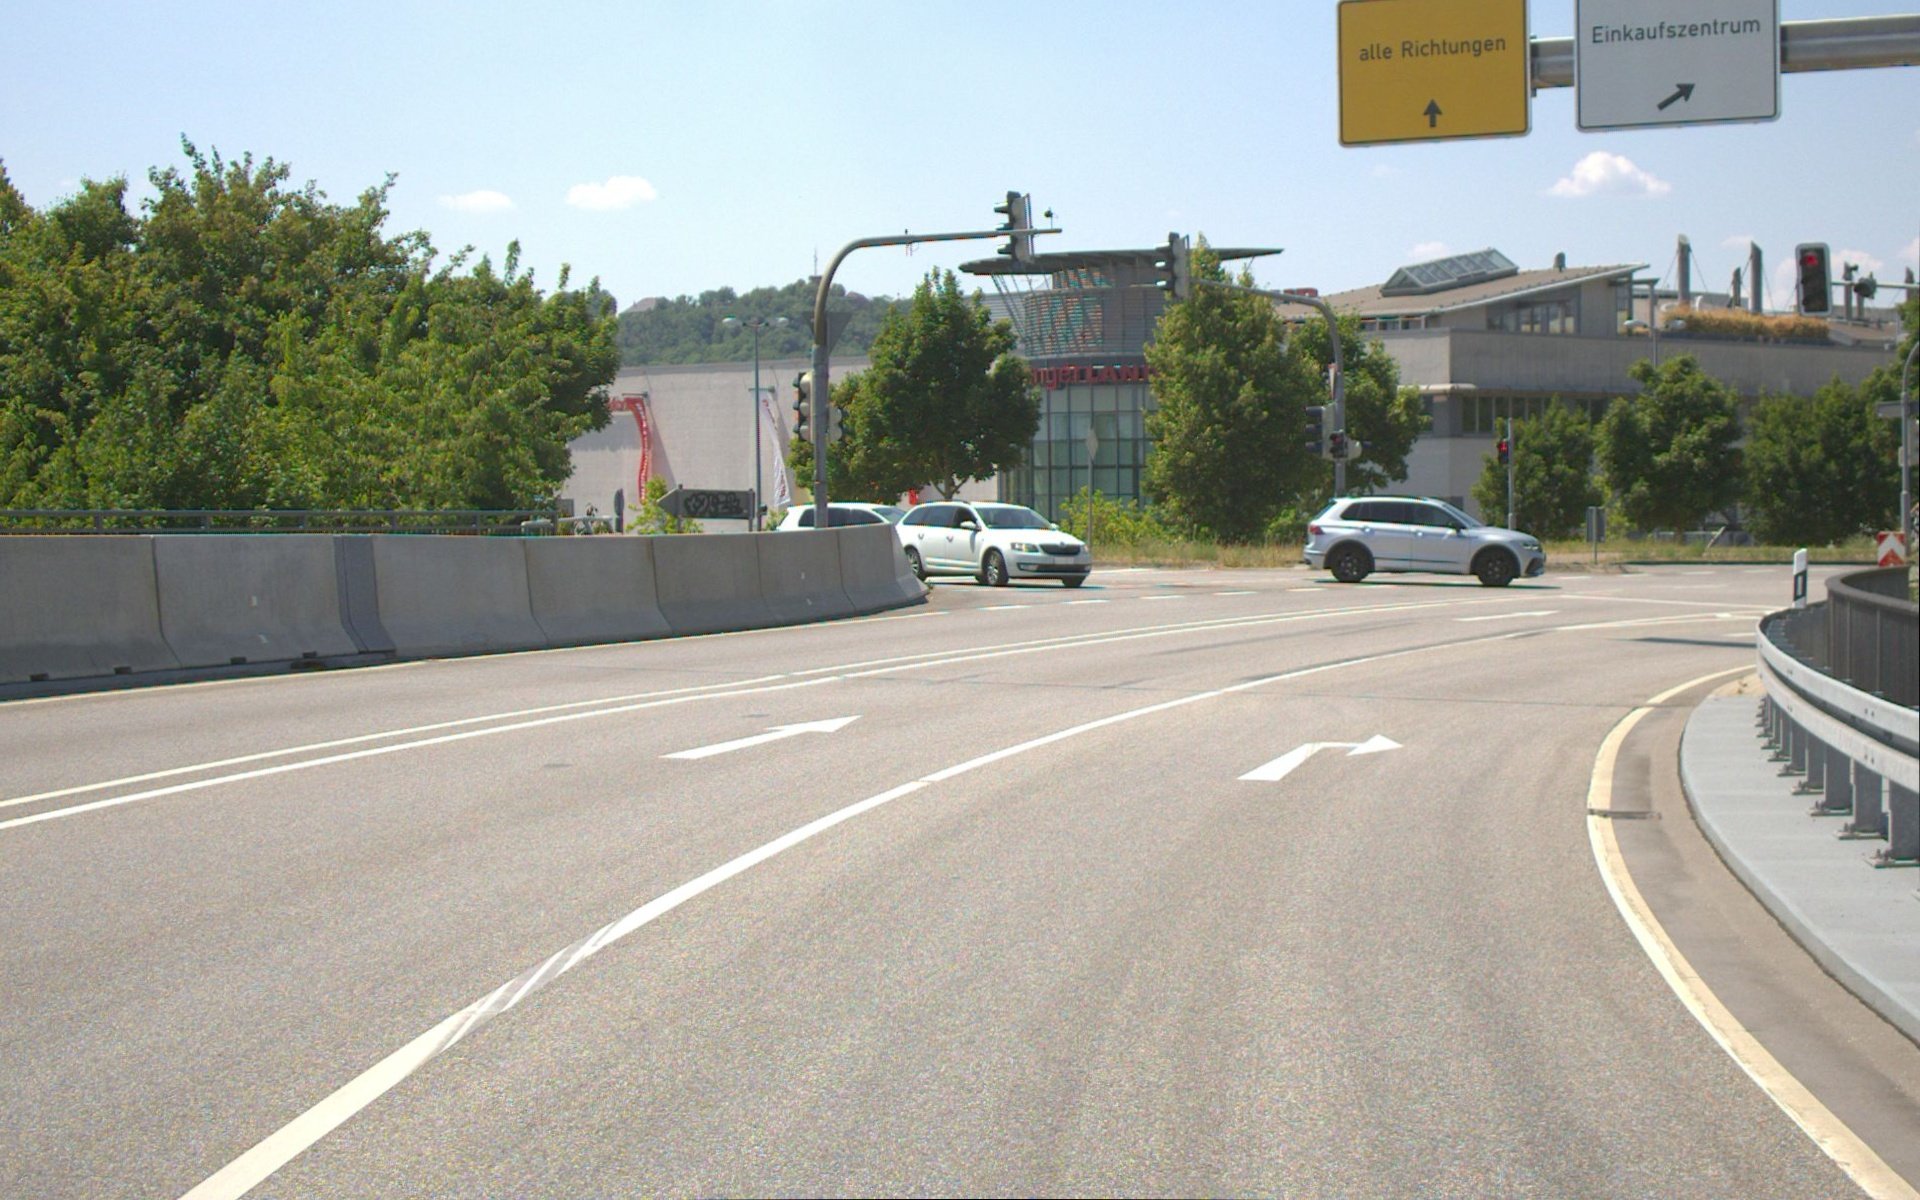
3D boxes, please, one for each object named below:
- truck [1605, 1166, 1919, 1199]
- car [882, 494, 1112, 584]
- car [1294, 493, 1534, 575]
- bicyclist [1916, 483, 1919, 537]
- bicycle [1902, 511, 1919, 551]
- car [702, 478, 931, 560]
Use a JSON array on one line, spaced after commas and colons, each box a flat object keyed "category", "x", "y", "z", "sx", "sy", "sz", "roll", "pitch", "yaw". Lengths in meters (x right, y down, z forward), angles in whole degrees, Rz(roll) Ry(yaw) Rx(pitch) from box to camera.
[{"category": "truck", "x": 8.644, "y": 5.380, "z": 16.569, "sx": 10.985, "sy": 4.332, "sz": 2.897, "roll": 0, "pitch": 1, "yaw": 16}, {"category": "car", "x": 0.599, "y": -1.087, "z": 59.992, "sx": 1.787, "sy": 1.490, "sz": 4.551, "roll": -1, "pitch": 2, "yaw": -33}, {"category": "car", "x": 8.546, "y": -1.230, "z": 64.576, "sx": 4.383, "sy": 1.500, "sz": 1.999, "roll": 0, "pitch": 1, "yaw": 9}, {"category": "bicyclist", "x": 25.267, "y": -2.323, "z": 89.420, "sx": 0.683, "sy": 1.399, "sz": 0.408, "roll": 0, "pitch": 3, "yaw": -40}, {"category": "bicycle", "x": 25.247, "y": -1.800, "z": 89.435, "sx": 1.827, "sy": 1.021, "sz": 0.415, "roll": -1, "pitch": 4, "yaw": -39}, {"category": "car", "x": -2.886, "y": -1.640, "z": 69.100, "sx": 4.128, "sy": 1.481, "sz": 1.997, "roll": 3, "pitch": 3, "yaw": 26}]
